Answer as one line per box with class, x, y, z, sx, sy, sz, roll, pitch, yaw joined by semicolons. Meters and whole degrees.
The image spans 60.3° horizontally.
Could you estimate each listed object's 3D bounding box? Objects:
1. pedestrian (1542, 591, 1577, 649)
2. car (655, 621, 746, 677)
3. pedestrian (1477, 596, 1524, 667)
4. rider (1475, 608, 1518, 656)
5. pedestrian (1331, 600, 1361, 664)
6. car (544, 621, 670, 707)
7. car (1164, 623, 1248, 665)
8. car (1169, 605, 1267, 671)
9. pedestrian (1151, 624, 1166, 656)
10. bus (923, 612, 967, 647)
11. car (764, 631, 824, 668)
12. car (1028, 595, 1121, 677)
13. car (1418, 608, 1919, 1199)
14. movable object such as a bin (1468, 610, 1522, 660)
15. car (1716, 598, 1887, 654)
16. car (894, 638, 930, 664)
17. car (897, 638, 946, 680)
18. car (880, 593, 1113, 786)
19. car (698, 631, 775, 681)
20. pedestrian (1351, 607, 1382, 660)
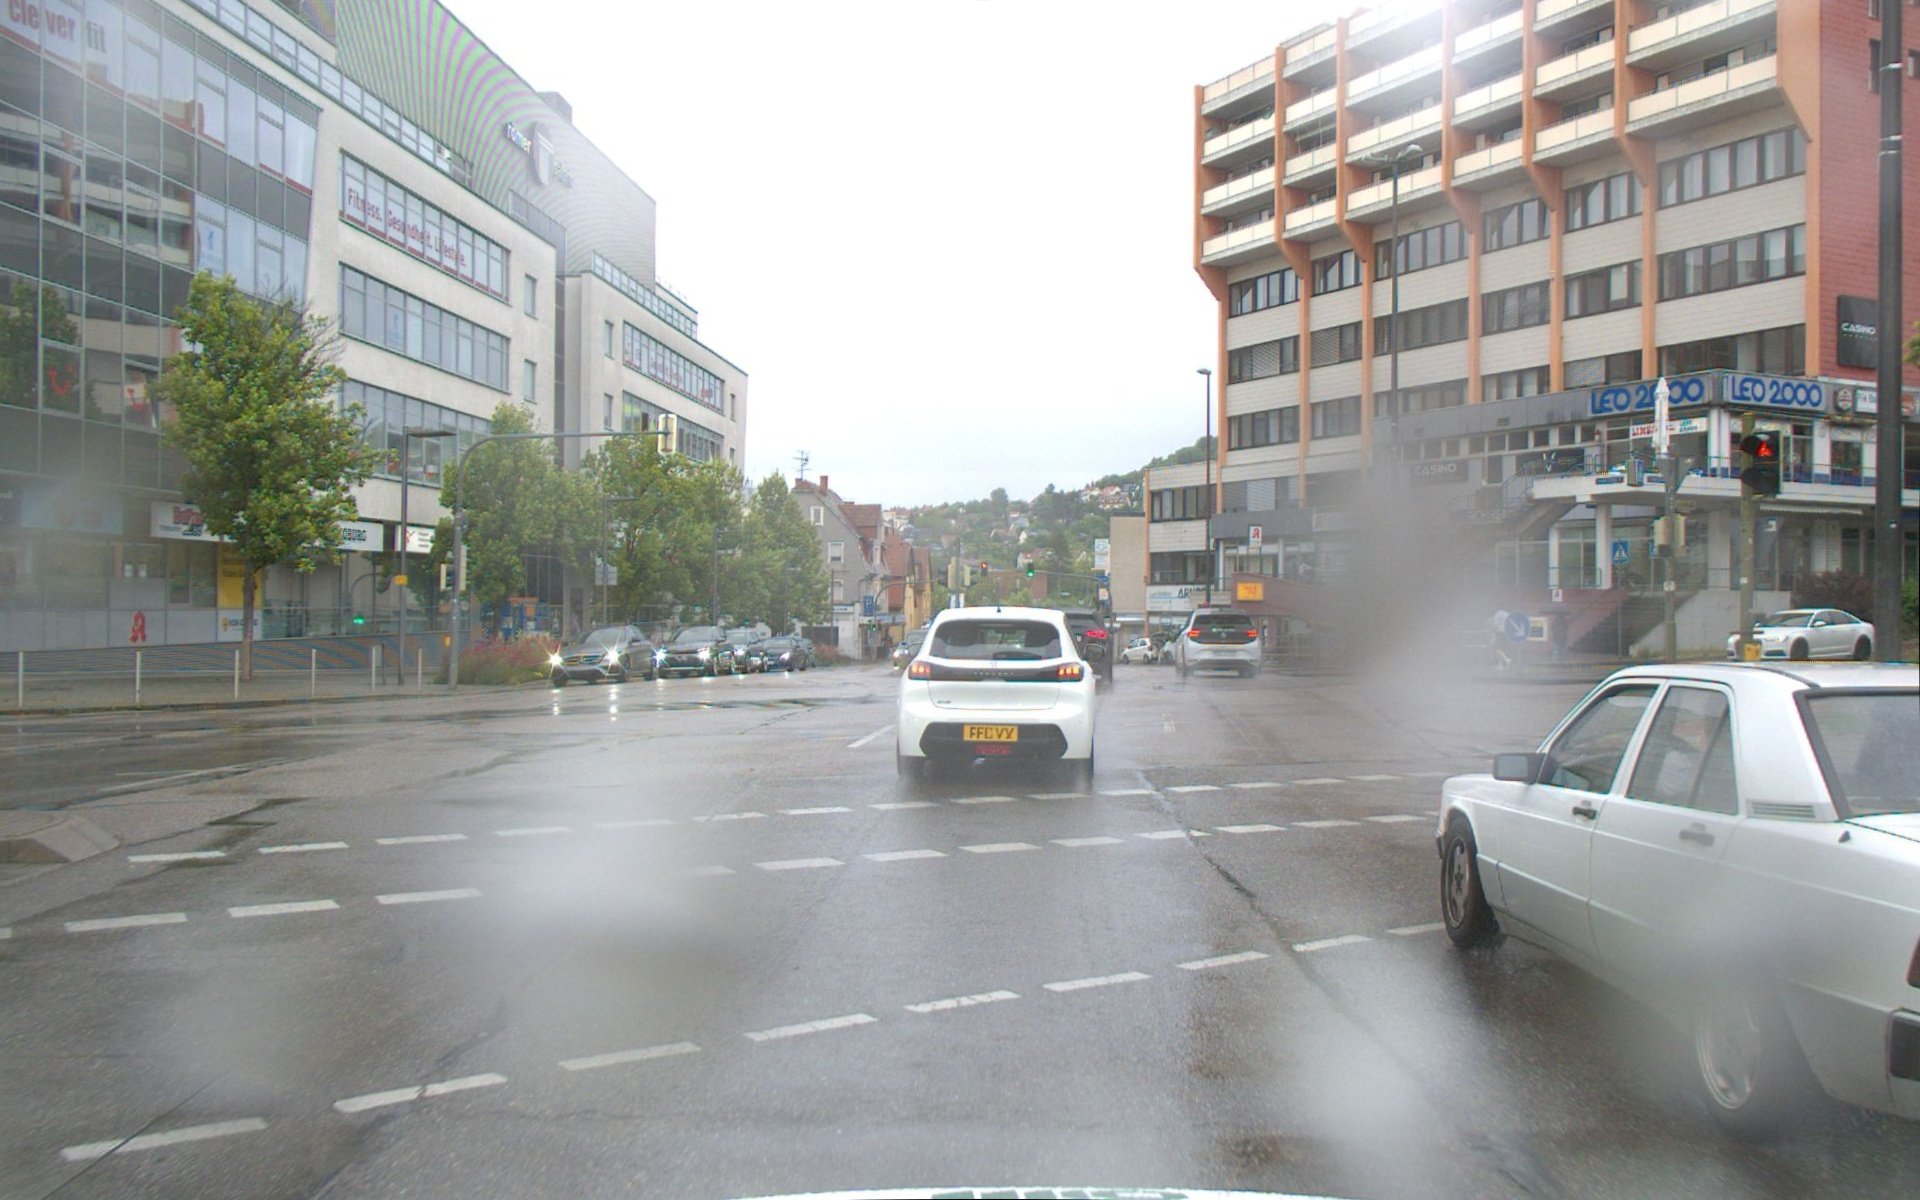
pedestrian;17.772;0.595;49.065;0.777;1.698;0.931;0;-1;6
car;-8.418;1.568;53.979;1.836;1.622;4.526;-4;-1;5
pedestrian;13.264;0.759;40.636;0.811;1.720;1.129;0;-1;2
rider;15.544;0.923;47.945;0.903;1.307;1.091;-3;0;4
pedestrian;10.060;0.837;43.115;0.692;1.635;0.656;-1;-1;8
car;-8.991;1.577;42.583;1.880;1.659;4.907;3;3;3
car;13.708;2.449;92.350;1.974;2.265;4.922;0;-1;-31
car;5.863;0.848;37.902;1.871;1.425;3.459;0;-1;3
pedestrian;11.581;2.354;96.474;0.633;1.854;0.577;0;-1;-29
bus;-1.199;2.447;140.135;2.877;2.832;9.508;-1;-1;4
car;-6.694;1.978;67.078;1.689;1.412;4.602;-1;-1;3
car;2.400;0.699;33.872;1.777;1.556;3.815;0;0;6
car;3.061;0.817;5.960;1.600;1.474;4.268;2;-1;0
movable object such as a bin;15.532;1.022;48.084;1.106;1.355;1.455;-3;-3;4
car;22.820;0.698;44.839;4.721;1.431;1.795;0;-2;-29
car;-2.783;2.975;96.675;1.689;1.412;4.456;-1;-1;3
car;-1.808;2.861;79.029;1.952;1.855;4.299;-3;-3;3
car;0.415;0.719;15.102;1.832;1.488;3.875;1;0;4
car;-8.172;2.028;60.847;1.736;1.622;4.590;-4;-1;5
pedestrian;10.757;0.887;43.773;0.692;1.369;0.656;-1;-1;7
